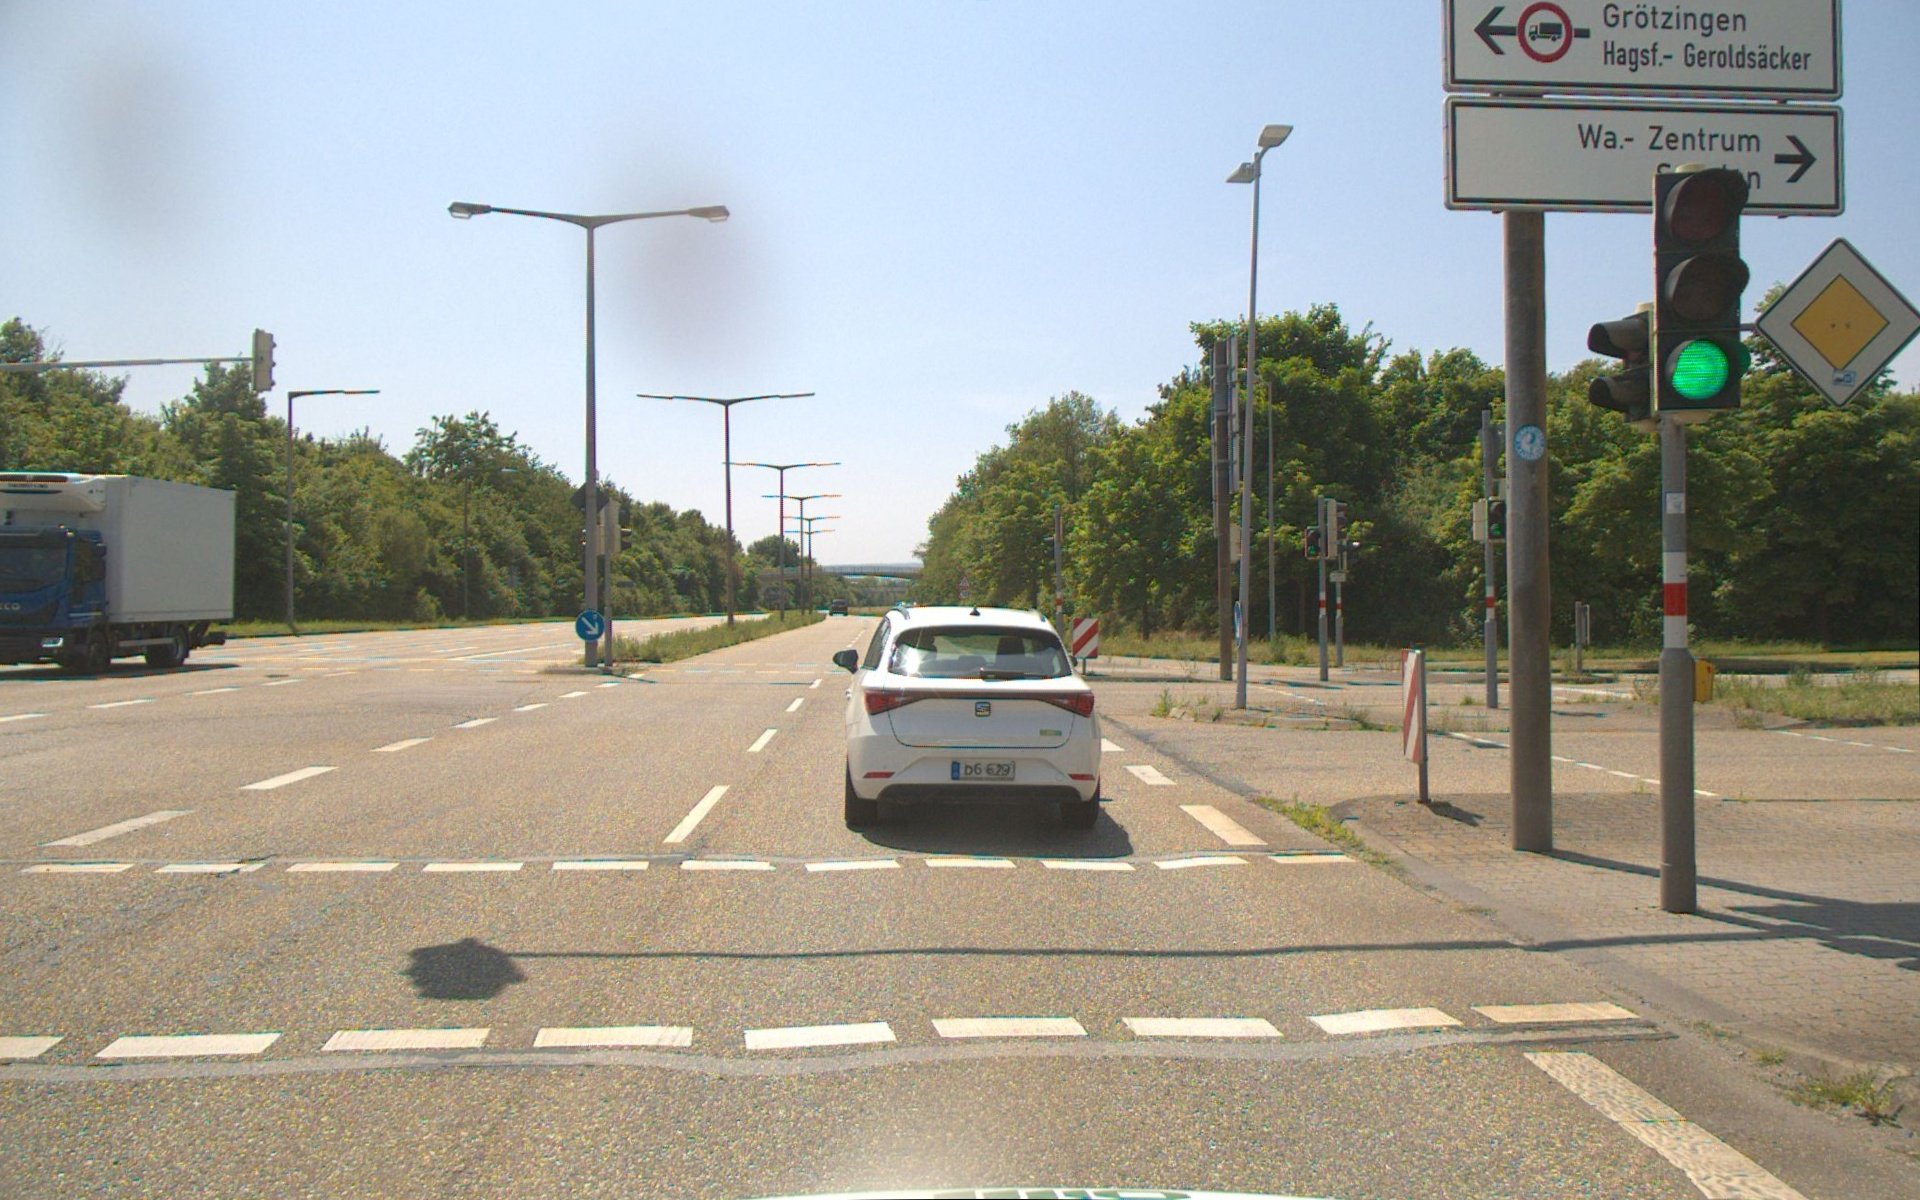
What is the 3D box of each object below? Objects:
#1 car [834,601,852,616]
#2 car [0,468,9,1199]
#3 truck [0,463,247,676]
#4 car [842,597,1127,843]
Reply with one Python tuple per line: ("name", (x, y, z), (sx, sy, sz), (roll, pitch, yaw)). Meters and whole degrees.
("car", (-13.910, 0.960, 196.663), (1.817, 1.739, 4.000), (0, 0, 0))
("car", (-2.864, 0.552, 1.212), (1.767, 1.691, 4.642), (0, 0, -2))
("truck", (-16.485, -0.532, 31.814), (2.633, 3.633, 7.264), (0, 0, -2))
("car", (0.091, 0.756, 11.917), (1.699, 1.453, 3.693), (2, -1, -2))
